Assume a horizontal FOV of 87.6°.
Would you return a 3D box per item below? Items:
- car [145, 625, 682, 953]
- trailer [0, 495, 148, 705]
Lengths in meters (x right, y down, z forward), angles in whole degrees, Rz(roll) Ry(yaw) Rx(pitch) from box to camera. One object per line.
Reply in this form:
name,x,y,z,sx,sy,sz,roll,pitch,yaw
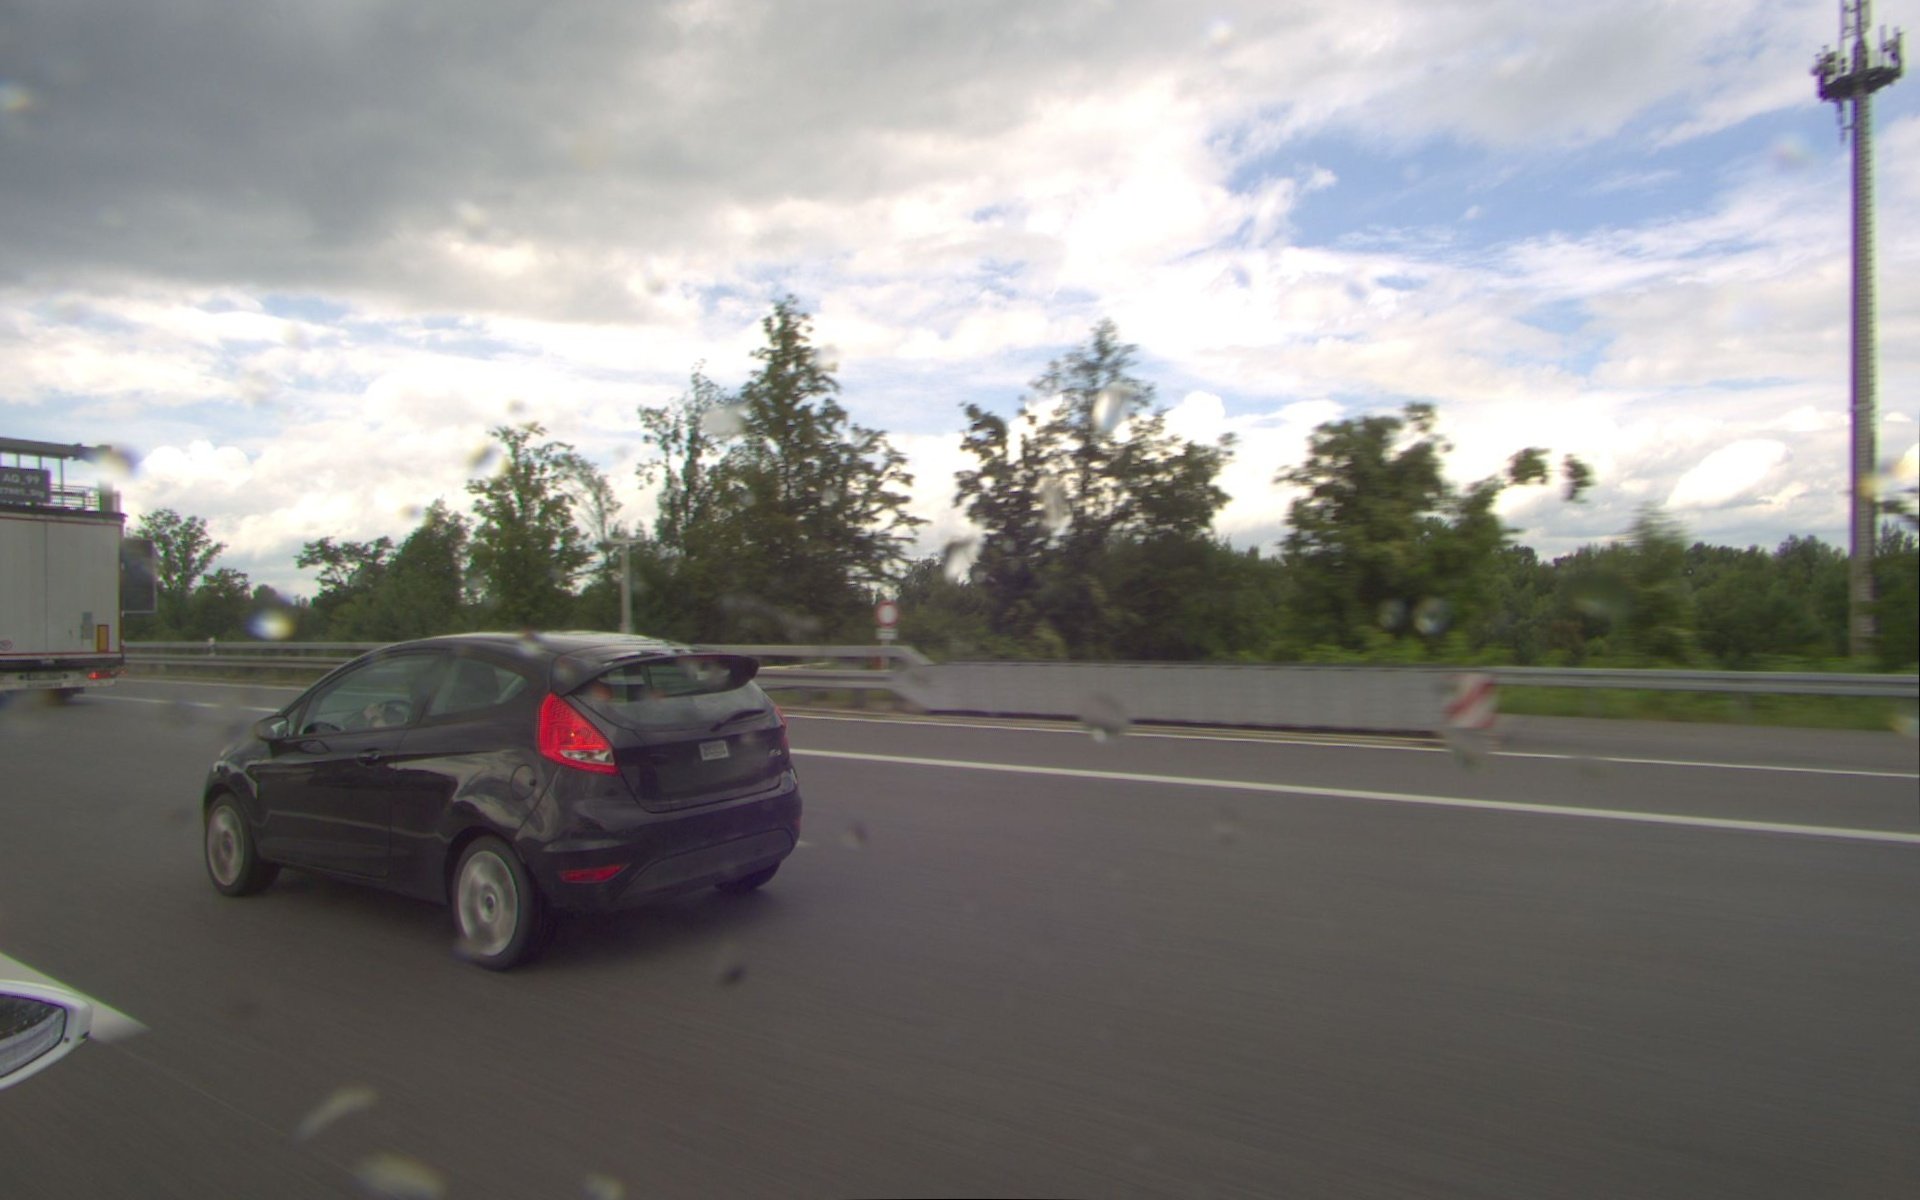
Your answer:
car,-3.277,0.880,5.908,3.118,1.460,1.444,-1,-1,32
trailer,-24.054,0.095,24.008,13.918,4.072,2.955,-1,-1,33
